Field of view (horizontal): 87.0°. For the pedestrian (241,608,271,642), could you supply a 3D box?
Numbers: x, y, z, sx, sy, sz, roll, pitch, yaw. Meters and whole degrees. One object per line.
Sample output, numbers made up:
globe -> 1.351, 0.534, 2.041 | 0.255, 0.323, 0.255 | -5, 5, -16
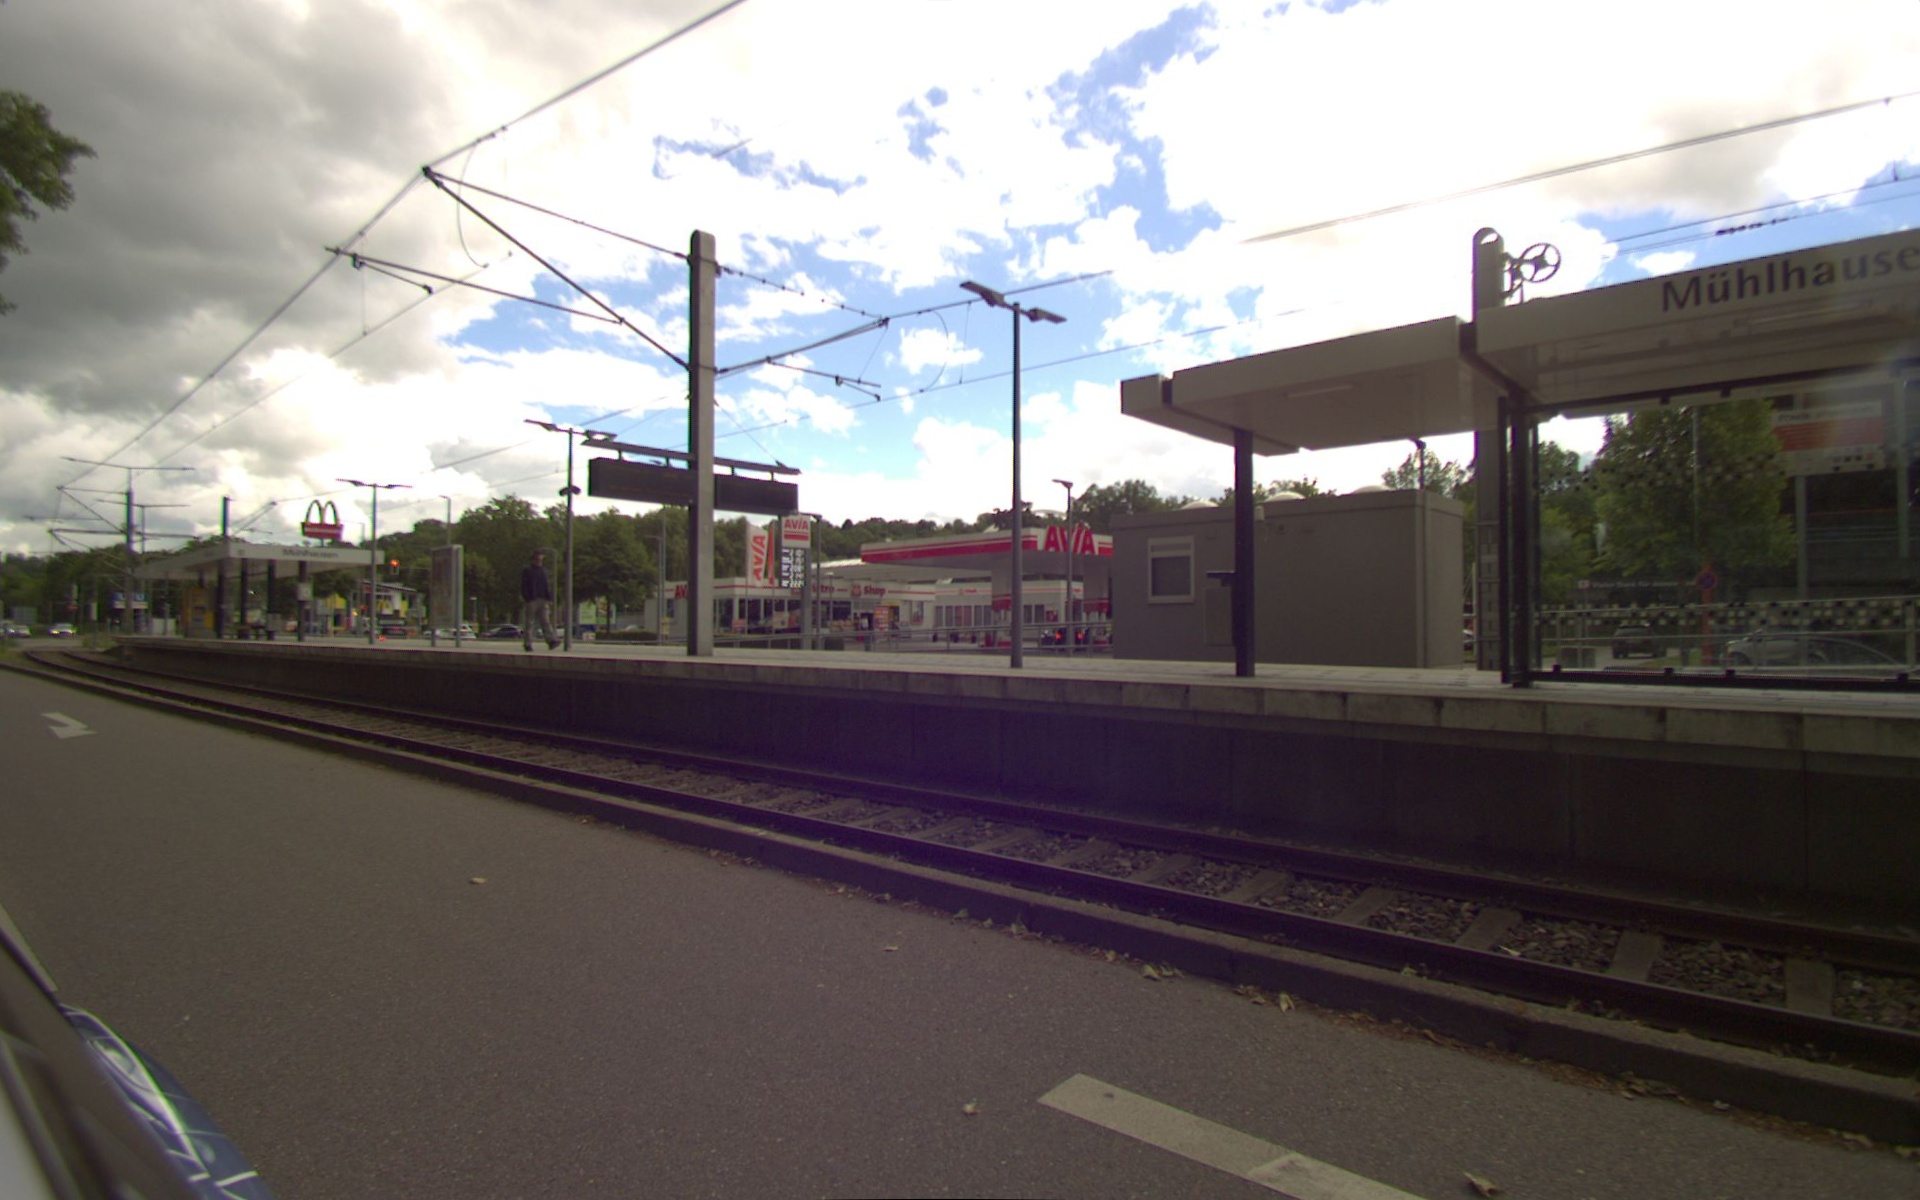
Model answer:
pedestrian -> -25.569, 0.904, 36.767 | 0.760, 1.198, 0.728 | 2, -3, -45

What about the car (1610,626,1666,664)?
car -> 32.349, 2.119, 48.242 | 1.646, 1.719, 3.759 | -2, -2, 42

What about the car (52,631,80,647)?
car -> -92.433, 3.997, 104.636 | 1.937, 1.564, 4.007 | 3, -4, -39

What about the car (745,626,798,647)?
car -> -12.337, 2.372, 66.060 | 3.636, 1.360, 1.595 | -2, -3, 44

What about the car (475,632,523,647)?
car -> -47.774, 4.093, 104.896 | 1.788, 1.443, 4.375 | -1, -2, 29

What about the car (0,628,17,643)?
car -> -104.907, 3.888, 111.052 | 1.803, 1.564, 4.007 | 3, -4, -39

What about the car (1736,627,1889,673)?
car -> 26.326, 1.532, 31.342 | 3.542, 1.320, 1.518 | -1, -4, 42

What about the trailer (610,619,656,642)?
trailer -> -33.708, 3.134, 104.469 | 1.559, 2.275, 4.331 | -1, -4, 41

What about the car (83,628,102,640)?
car -> -155.564, 6.118, 181.464 | 3.998, 2.029, 1.972 | -1, -4, 41

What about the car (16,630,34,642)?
car -> -165.528, 6.312, 179.205 | 3.998, 2.029, 1.926 | -1, -2, 41

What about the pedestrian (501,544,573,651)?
pedestrian -> -7.222, -0.023, 17.269 | 0.936, 1.757, 0.741 | -1, -4, 41

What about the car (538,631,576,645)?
car -> -44.806, 4.243, 112.611 | 1.721, 1.566, 3.602 | -1, -3, 31

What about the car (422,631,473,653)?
car -> -33.337, 2.708, 65.793 | 4.030, 1.360, 1.595 | -2, -3, 42

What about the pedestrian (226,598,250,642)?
pedestrian -> -27.103, 0.742, 37.996 | 0.572, 1.633, 0.577 | -2, -4, 43
